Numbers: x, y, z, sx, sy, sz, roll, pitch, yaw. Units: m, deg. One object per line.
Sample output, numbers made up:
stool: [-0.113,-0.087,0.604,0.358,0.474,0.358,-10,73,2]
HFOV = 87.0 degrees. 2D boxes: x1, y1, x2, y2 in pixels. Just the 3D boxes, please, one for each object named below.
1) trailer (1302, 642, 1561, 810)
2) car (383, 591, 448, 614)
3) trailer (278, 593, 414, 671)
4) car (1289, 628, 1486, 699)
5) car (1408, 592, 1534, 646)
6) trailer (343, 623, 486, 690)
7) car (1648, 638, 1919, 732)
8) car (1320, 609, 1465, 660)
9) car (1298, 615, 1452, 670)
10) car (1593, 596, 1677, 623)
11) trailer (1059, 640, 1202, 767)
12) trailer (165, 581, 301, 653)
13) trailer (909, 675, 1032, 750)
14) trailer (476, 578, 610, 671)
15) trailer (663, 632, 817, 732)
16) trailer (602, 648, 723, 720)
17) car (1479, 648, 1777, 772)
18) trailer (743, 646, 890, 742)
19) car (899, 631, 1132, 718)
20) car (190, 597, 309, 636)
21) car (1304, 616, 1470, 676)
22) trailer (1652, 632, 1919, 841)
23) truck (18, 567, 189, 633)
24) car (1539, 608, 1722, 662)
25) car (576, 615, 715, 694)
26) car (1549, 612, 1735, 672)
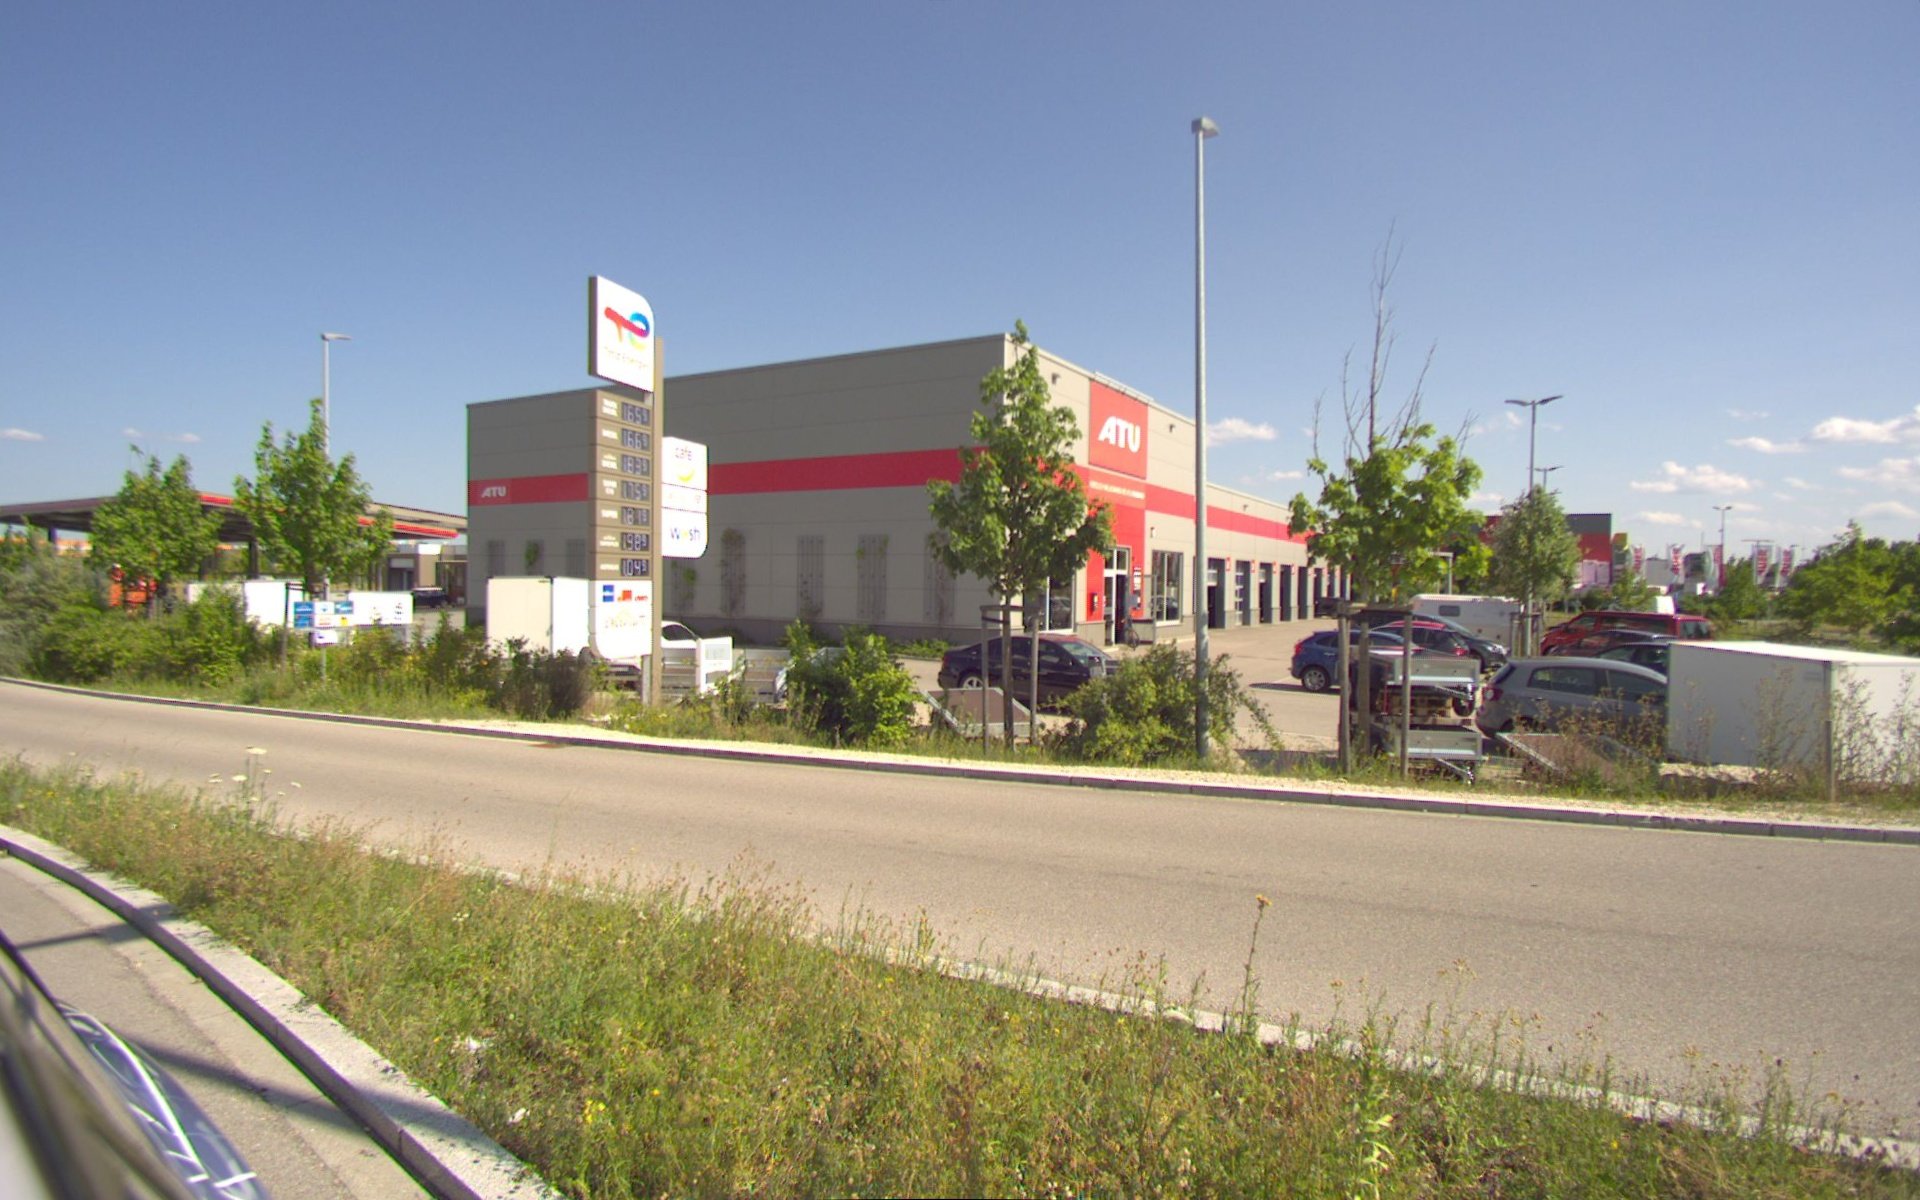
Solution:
trailer: [6.210,1.571,13.841,1.782,1.785,3.697,-1,1,0]
car: [-38.374,0.153,71.392,1.695,1.586,3.637,0,1,40]
trailer: [-16.962,0.838,28.083,1.976,2.029,2.731,-1,1,7]
car: [9.762,1.390,23.148,3.984,1.475,1.807,0,-2,30]
car: [20.251,0.733,40.154,4.333,2.029,1.884,0,1,31]
trailer: [-14.498,1.450,27.107,1.581,1.521,3.593,-1,1,7]
car: [17.064,1.683,21.176,1.793,1.475,4.014,1,1,-25]
car: [13.752,1.058,32.246,3.991,1.475,1.804,0,1,35]
car: [12.433,1.217,30.370,3.991,1.475,1.804,0,1,35]
car: [58.603,0.792,88.083,2.005,2.251,6.292,-1,1,-15]
trailer: [2.657,1.579,16.548,1.684,1.462,3.698,-1,3,0]
trailer: [-21.732,0.468,30.410,1.969,2.029,3.210,-1,1,-5]
trailer: [0.190,1.801,16.679,1.841,0.888,2.836,-1,1,2]
trailer: [-9.800,0.525,24.016,1.725,2.029,3.237,-1,1,3]
trailer: [-3.905,1.411,18.421,1.533,1.495,3.178,-1,1,13]
trailer: [-5.503,1.527,18.966,1.303,1.094,2.773,-1,1,4]
car: [10.336,1.634,15.941,3.732,1.563,1.725,0,1,32]
trailer: [-2.396,1.553,17.509,1.378,1.332,2.895,-1,1,18]
car: [1.074,1.428,20.672,4.487,1.495,1.782,-1,0,35]
car: [-34.733,0.753,49.596,1.788,1.771,4.476,0,1,29]
car: [11.863,1.229,28.207,3.991,1.475,1.804,0,1,35]
trailer: [10.304,1.415,11.885,1.782,1.785,3.697,-1,2,0]
truck: [-46.256,-0.012,54.971,2.615,3.343,6.877,-1,1,13]
car: [20.777,1.032,31.578,1.794,1.475,4.470,-1,1,-25]
car: [-7.105,1.187,23.305,1.697,1.548,3.994,-1,1,5]
car: [19.198,1.116,28.689,1.794,1.475,4.013,-1,1,-25]
